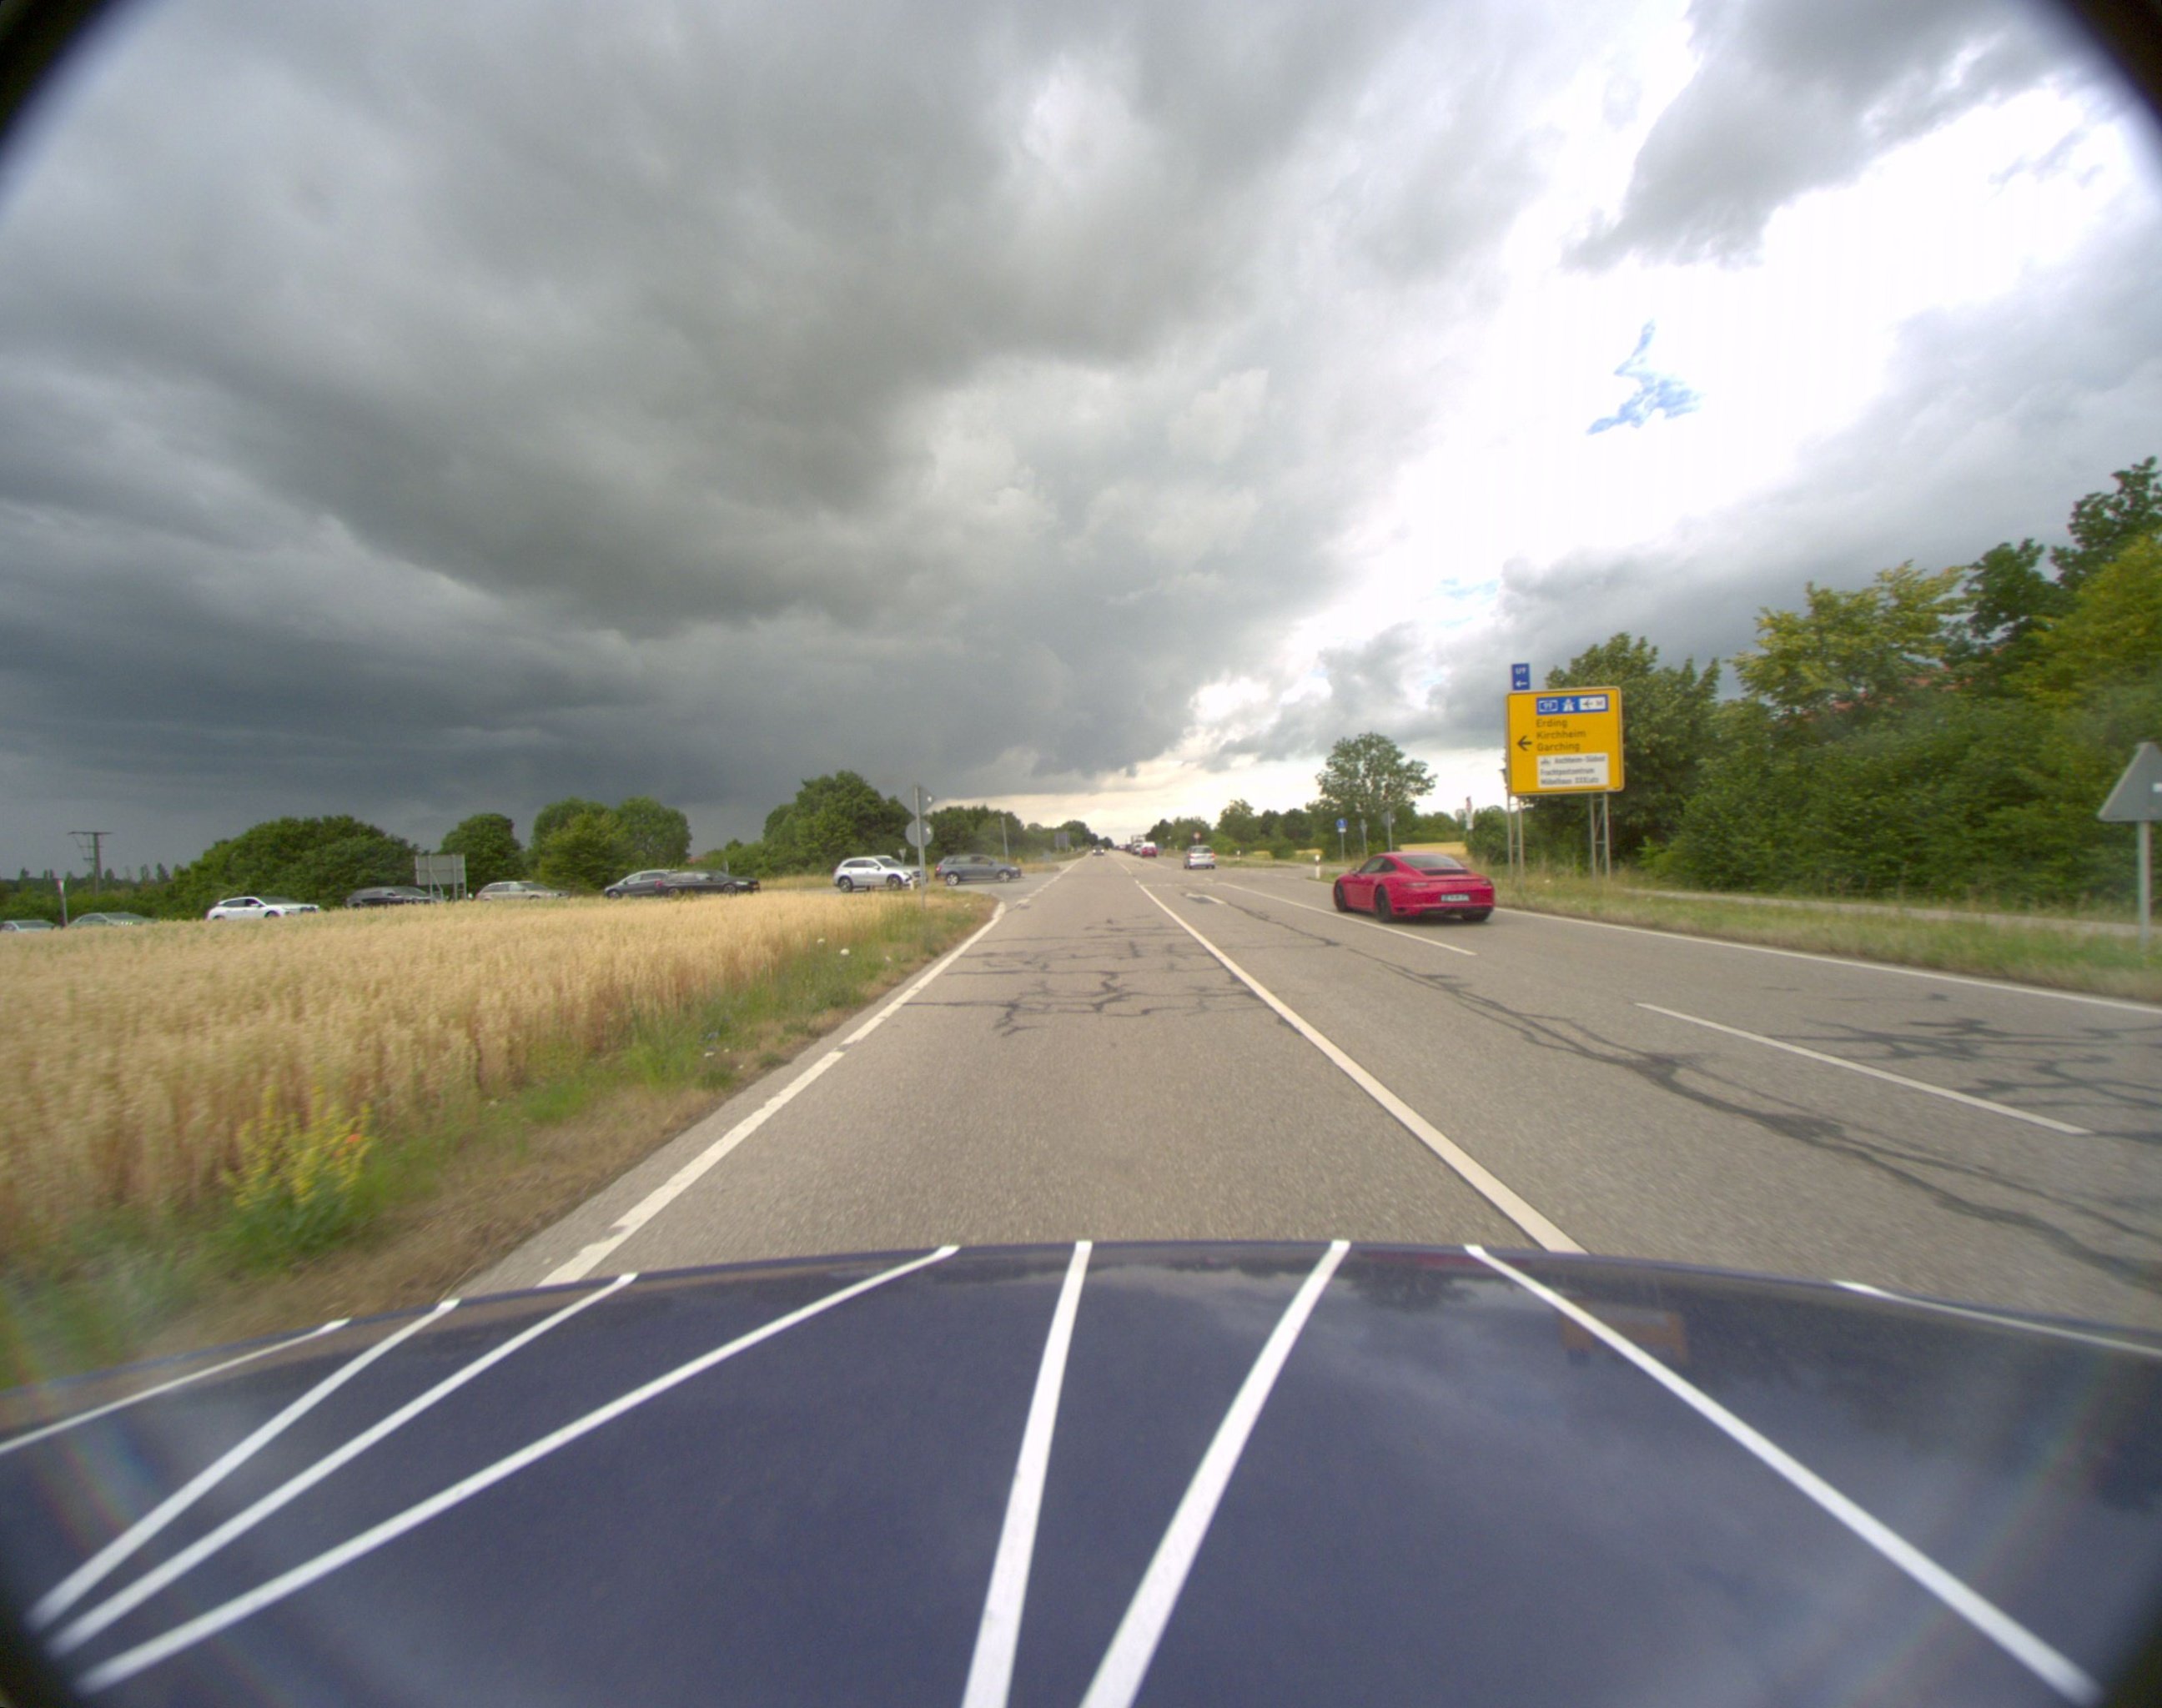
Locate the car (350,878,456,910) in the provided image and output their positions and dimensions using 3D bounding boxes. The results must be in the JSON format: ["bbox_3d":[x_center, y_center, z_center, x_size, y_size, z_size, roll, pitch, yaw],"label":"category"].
[{"bbox_3d":[-35.899,2.118,40.293,4.209,1.346,1.722,-3,3,6],"label":"car"}]

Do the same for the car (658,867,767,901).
[{"bbox_3d":[-18.630,1.498,38.486,4.689,1.346,1.722,-3,3,8],"label":"car"}]

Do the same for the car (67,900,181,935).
[{"bbox_3d":[-51.950,3.440,41.298,4.209,1.486,1.722,-3,3,6],"label":"car"}]

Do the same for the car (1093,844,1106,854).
[{"bbox_3d":[2.968,-0.749,120.423,1.998,1.474,4.000,-3,1,1],"label":"car"}]

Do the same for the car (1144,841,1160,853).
[{"bbox_3d":[8.773,-0.879,93.932,1.676,1.393,4.089,-2,0,2],"label":"car"}]

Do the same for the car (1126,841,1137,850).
[{"bbox_3d":[10.406,-1.761,156.773,1.856,1.739,4.000,-3,0,1],"label":"car"}]

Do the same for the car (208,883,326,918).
[{"bbox_3d":[-43.517,2.473,40.657,4.633,1.486,1.722,-3,3,6],"label":"car"}]

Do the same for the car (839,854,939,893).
[{"bbox_3d":[-9.066,0.905,35.708,4.382,1.578,2.000,-1,3,33],"label":"car"}]

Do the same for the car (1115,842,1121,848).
[{"bbox_3d":[12.122,-3.005,247.751,1.856,1.739,4.000,-3,0,2],"label":"car"}]

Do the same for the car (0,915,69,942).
[{"bbox_3d":[-59.451,4.211,42.804,3.493,1.339,1.575,-2,1,13],"label":"car"}]

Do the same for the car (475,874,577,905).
[{"bbox_3d":[-29.111,1.830,39.912,4.209,1.345,1.723,-3,1,6],"label":"car"}]

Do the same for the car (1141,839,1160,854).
[{"bbox_3d":[9.576,-1.017,104.679,2.111,1.875,5.390,-2,0,1],"label":"car"}]

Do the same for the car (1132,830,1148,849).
[{"bbox_3d":[9.736,-2.283,125.526,2.339,3.011,6.558,-1,0,2],"label":"car"}]

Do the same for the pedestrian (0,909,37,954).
[{"bbox_3d":[-40.110,2.917,28.398,0.945,1.602,0.773,-3,1,-12],"label":"pedestrian"}]

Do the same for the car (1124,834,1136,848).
[{"bbox_3d":[10.927,-2.889,169.775,2.339,3.011,6.558,-3,0,1],"label":"car"}]

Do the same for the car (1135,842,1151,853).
[{"bbox_3d":[9.326,-1.011,114.894,1.998,1.614,4.261,0,0,0],"label":"car"}]

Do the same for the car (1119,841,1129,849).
[{"bbox_3d":[10.861,-2.289,190.755,2.339,1.911,4.875,-3,0,2],"label":"car"}]

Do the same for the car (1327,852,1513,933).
[{"bbox_3d":[6.227,0.631,14.545,1.775,1.234,4.211,-2,1,2],"label":"car"}]

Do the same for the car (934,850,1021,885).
[{"bbox_3d":[-5.052,0.659,37.582,4.115,1.439,1.717,-3,2,-5],"label":"car"}]

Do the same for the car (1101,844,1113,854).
[{"bbox_3d":[4.882,-0.942,143.222,1.998,1.673,4.752,-2,1,1],"label":"car"}]

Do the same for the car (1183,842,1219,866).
[{"bbox_3d":[7.749,-0.009,49.267,1.734,1.423,3.934,-1,1,1],"label":"car"}]

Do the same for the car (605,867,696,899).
[{"bbox_3d":[-25.115,1.689,44.397,4.287,1.649,1.753,-1,1,0],"label":"car"}]

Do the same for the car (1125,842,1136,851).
[{"bbox_3d":[9.336,-1.451,144.581,1.847,1.516,4.000,-3,0,2],"label":"car"}]
